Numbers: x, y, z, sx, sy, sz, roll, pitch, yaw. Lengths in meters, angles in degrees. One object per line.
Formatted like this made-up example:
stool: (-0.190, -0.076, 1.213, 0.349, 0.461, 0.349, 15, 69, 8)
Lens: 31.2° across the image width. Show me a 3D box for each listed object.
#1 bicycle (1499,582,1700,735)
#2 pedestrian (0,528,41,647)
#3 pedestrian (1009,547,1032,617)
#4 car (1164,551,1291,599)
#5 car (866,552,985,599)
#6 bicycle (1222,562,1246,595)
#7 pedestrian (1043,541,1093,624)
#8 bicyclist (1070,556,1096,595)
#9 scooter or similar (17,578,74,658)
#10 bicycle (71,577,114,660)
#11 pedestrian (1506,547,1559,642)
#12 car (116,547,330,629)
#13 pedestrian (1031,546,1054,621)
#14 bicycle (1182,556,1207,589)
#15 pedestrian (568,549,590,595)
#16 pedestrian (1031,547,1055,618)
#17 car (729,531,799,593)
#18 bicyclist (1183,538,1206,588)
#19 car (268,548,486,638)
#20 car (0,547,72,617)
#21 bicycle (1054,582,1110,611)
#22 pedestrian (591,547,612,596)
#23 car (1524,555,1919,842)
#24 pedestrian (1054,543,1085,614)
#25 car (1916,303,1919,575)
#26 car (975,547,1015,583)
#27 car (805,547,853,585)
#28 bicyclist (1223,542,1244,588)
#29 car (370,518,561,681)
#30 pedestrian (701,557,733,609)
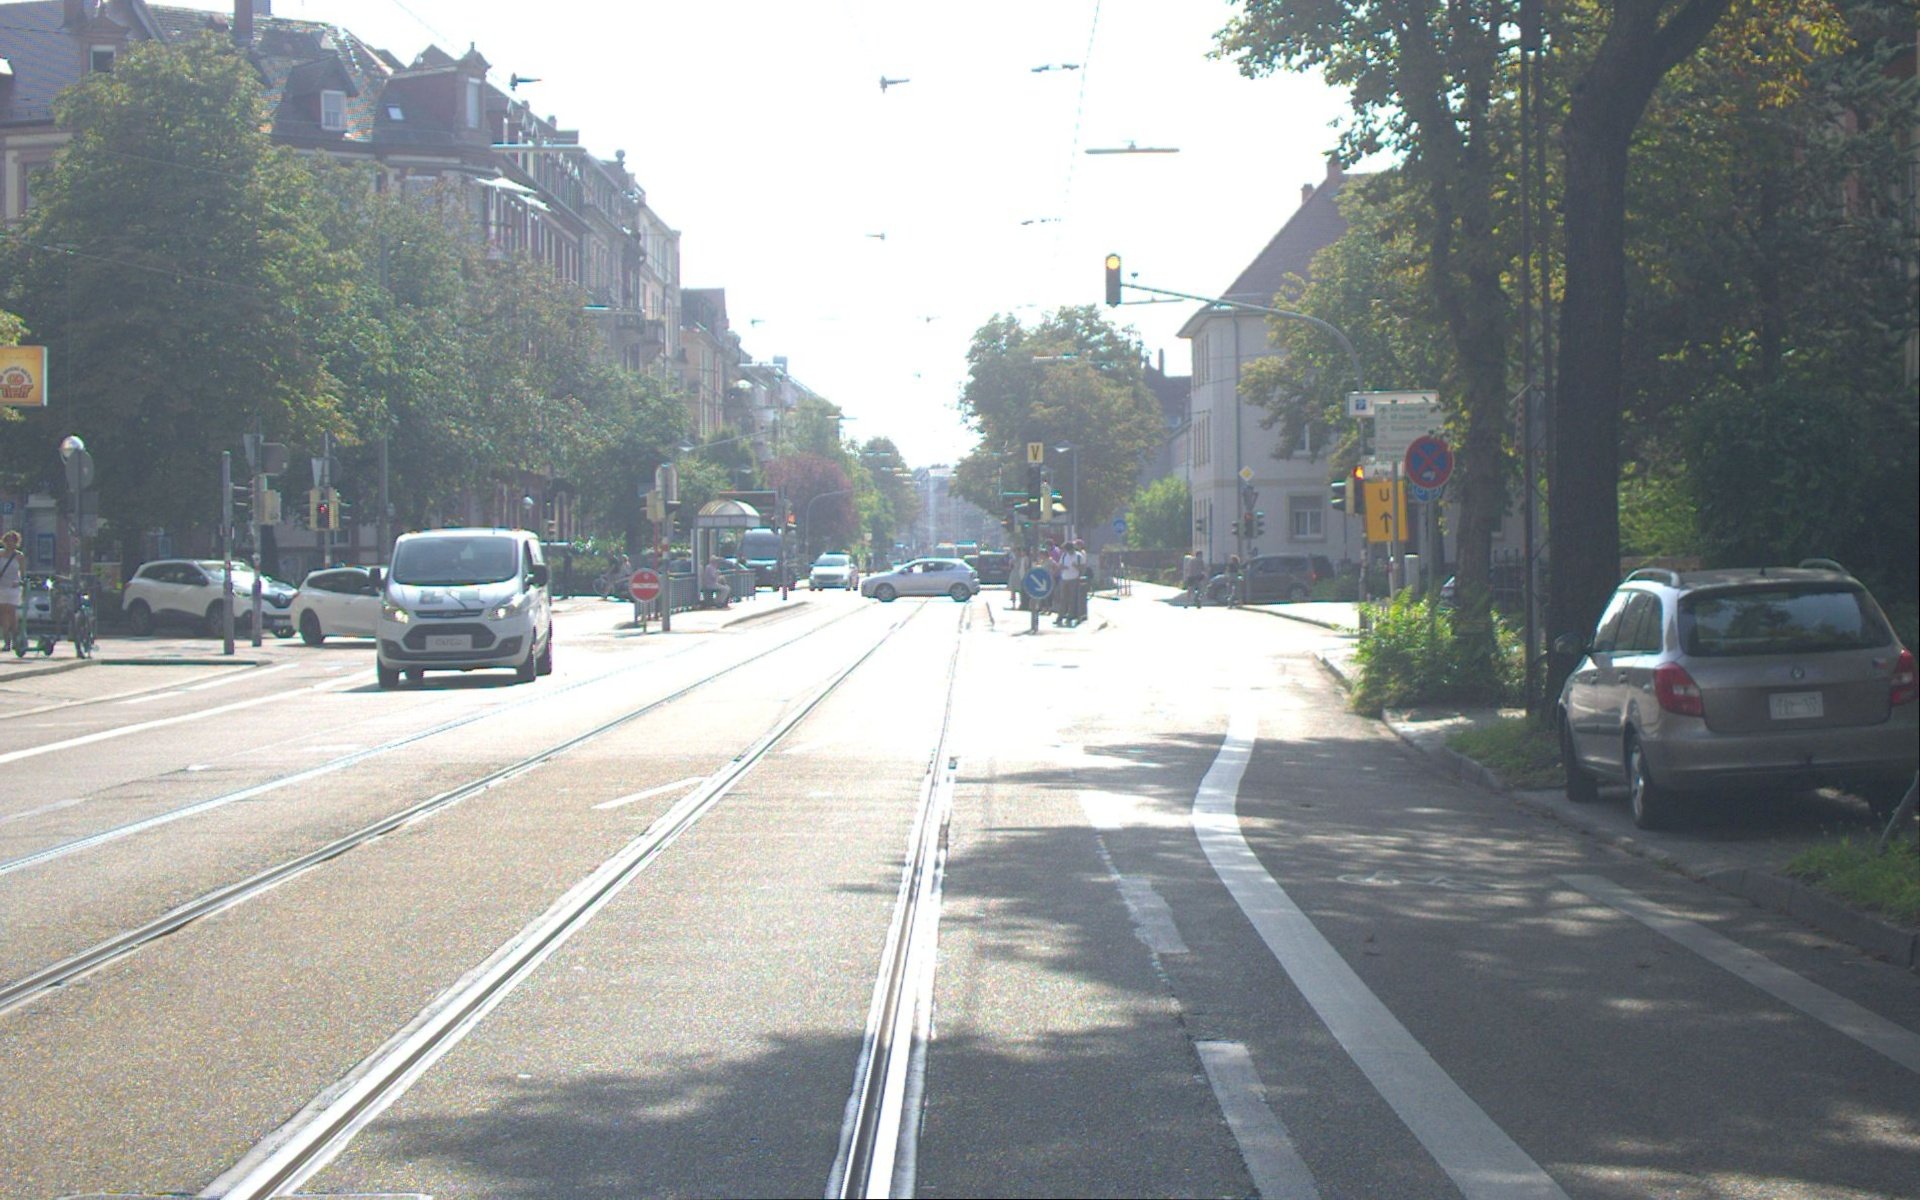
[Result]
bicycle: (5.429, 0.487, 29.133, 1.837, 1.162, 0.504, -3, -3, -39)
pedestrian: (-14.986, -0.196, 54.199, 0.773, 1.853, 0.830, 0, 0, -1)
pedestrian: (1.568, -0.462, 88.805, 0.532, 1.753, 0.545, 2, 3, 2)
car: (9.002, -0.841, 115.566, 3.967, 1.546, 1.999, 0, 1, 16)
car: (-1.159, -0.833, 116.282, 3.964, 1.546, 2.000, 0, 1, 1)
bicycle: (8.301, -0.661, 104.237, 0.558, 0.974, 1.856, 0, 1, -1)
pedestrian: (2.309, -0.374, 73.574, 0.701, 1.719, 0.746, 4, 4, 34)
bicyclist: (4.170, -0.823, 116.496, 0.819, 1.323, 0.548, 0, 1, 8)
scooter or similar: (-13.777, 0.267, 51.779, 1.033, 1.193, 0.365, 0, 1, 45)
bicycle: (-13.194, 0.264, 52.304, 0.453, 1.222, 1.857, -1, 1, -9)
pedestrian: (10.443, -0.102, 62.696, 0.750, 1.725, 0.772, 0, 0, -8)
car: (-15.161, -0.263, 70.673, 4.327, 1.625, 1.996, 0, 1, 38)
pedestrian: (1.979, -0.395, 82.556, 0.504, 1.753, 0.534, 2, 3, 1)
bicycle: (7.150, -0.838, 104.825, 0.629, 0.974, 1.770, 0, 1, -1)
pedestrian: (-14.102, -1.031, 127.275, 0.533, 1.685, 0.544, 4, 3, 30)
pedestrian: (2.107, -0.441, 87.371, 0.543, 1.753, 0.534, 2, 3, 1)
car: (-8.528, -1.674, 149.940, 2.347, 2.653, 5.104, 0, 1, 5)
bicyclist: (7.154, -1.123, 104.820, 0.629, 1.502, 0.678, 0, 1, -1)
car: (-10.989, -0.151, 64.642, 1.994, 1.625, 4.329, -1, 1, -43)
car: (-21.007, -0.415, 75.784, 1.864, 1.461, 4.787, -1, 1, -26)
bicycle: (4.148, -0.106, 116.503, 1.851, 0.955, 0.548, 0, 1, 8)
pedestrian: (-13.321, -1.057, 127.774, 0.533, 1.753, 0.544, 4, 3, 27)
car: (4.704, 0.528, 21.453, 1.606, 1.519, 4.357, -3, 1, 0)
pedestrian: (2.751, -0.547, 86.731, 0.709, 1.753, 0.534, 2, 3, 1)
car: (4.581, 0.167, 9.708, 2.046, 2.490, 6.229, -1, 1, 1)
car: (1.643, -1.625, 160.537, 1.801, 1.648, 3.642, 0, 1, 2)
car: (-5.655, -1.473, 148.806, 1.801, 1.648, 3.642, 0, 1, 2)
bicyclist: (8.292, -1.064, 104.246, 0.558, 1.412, 0.871, 0, 1, -1)
car: (-6.414, -0.039, 45.032, 1.993, 2.007, 4.860, -1, 1, -3)
pedestrian: (-6.388, -0.454, 90.451, 0.827, 1.354, 0.776, 0, 0, -3)
